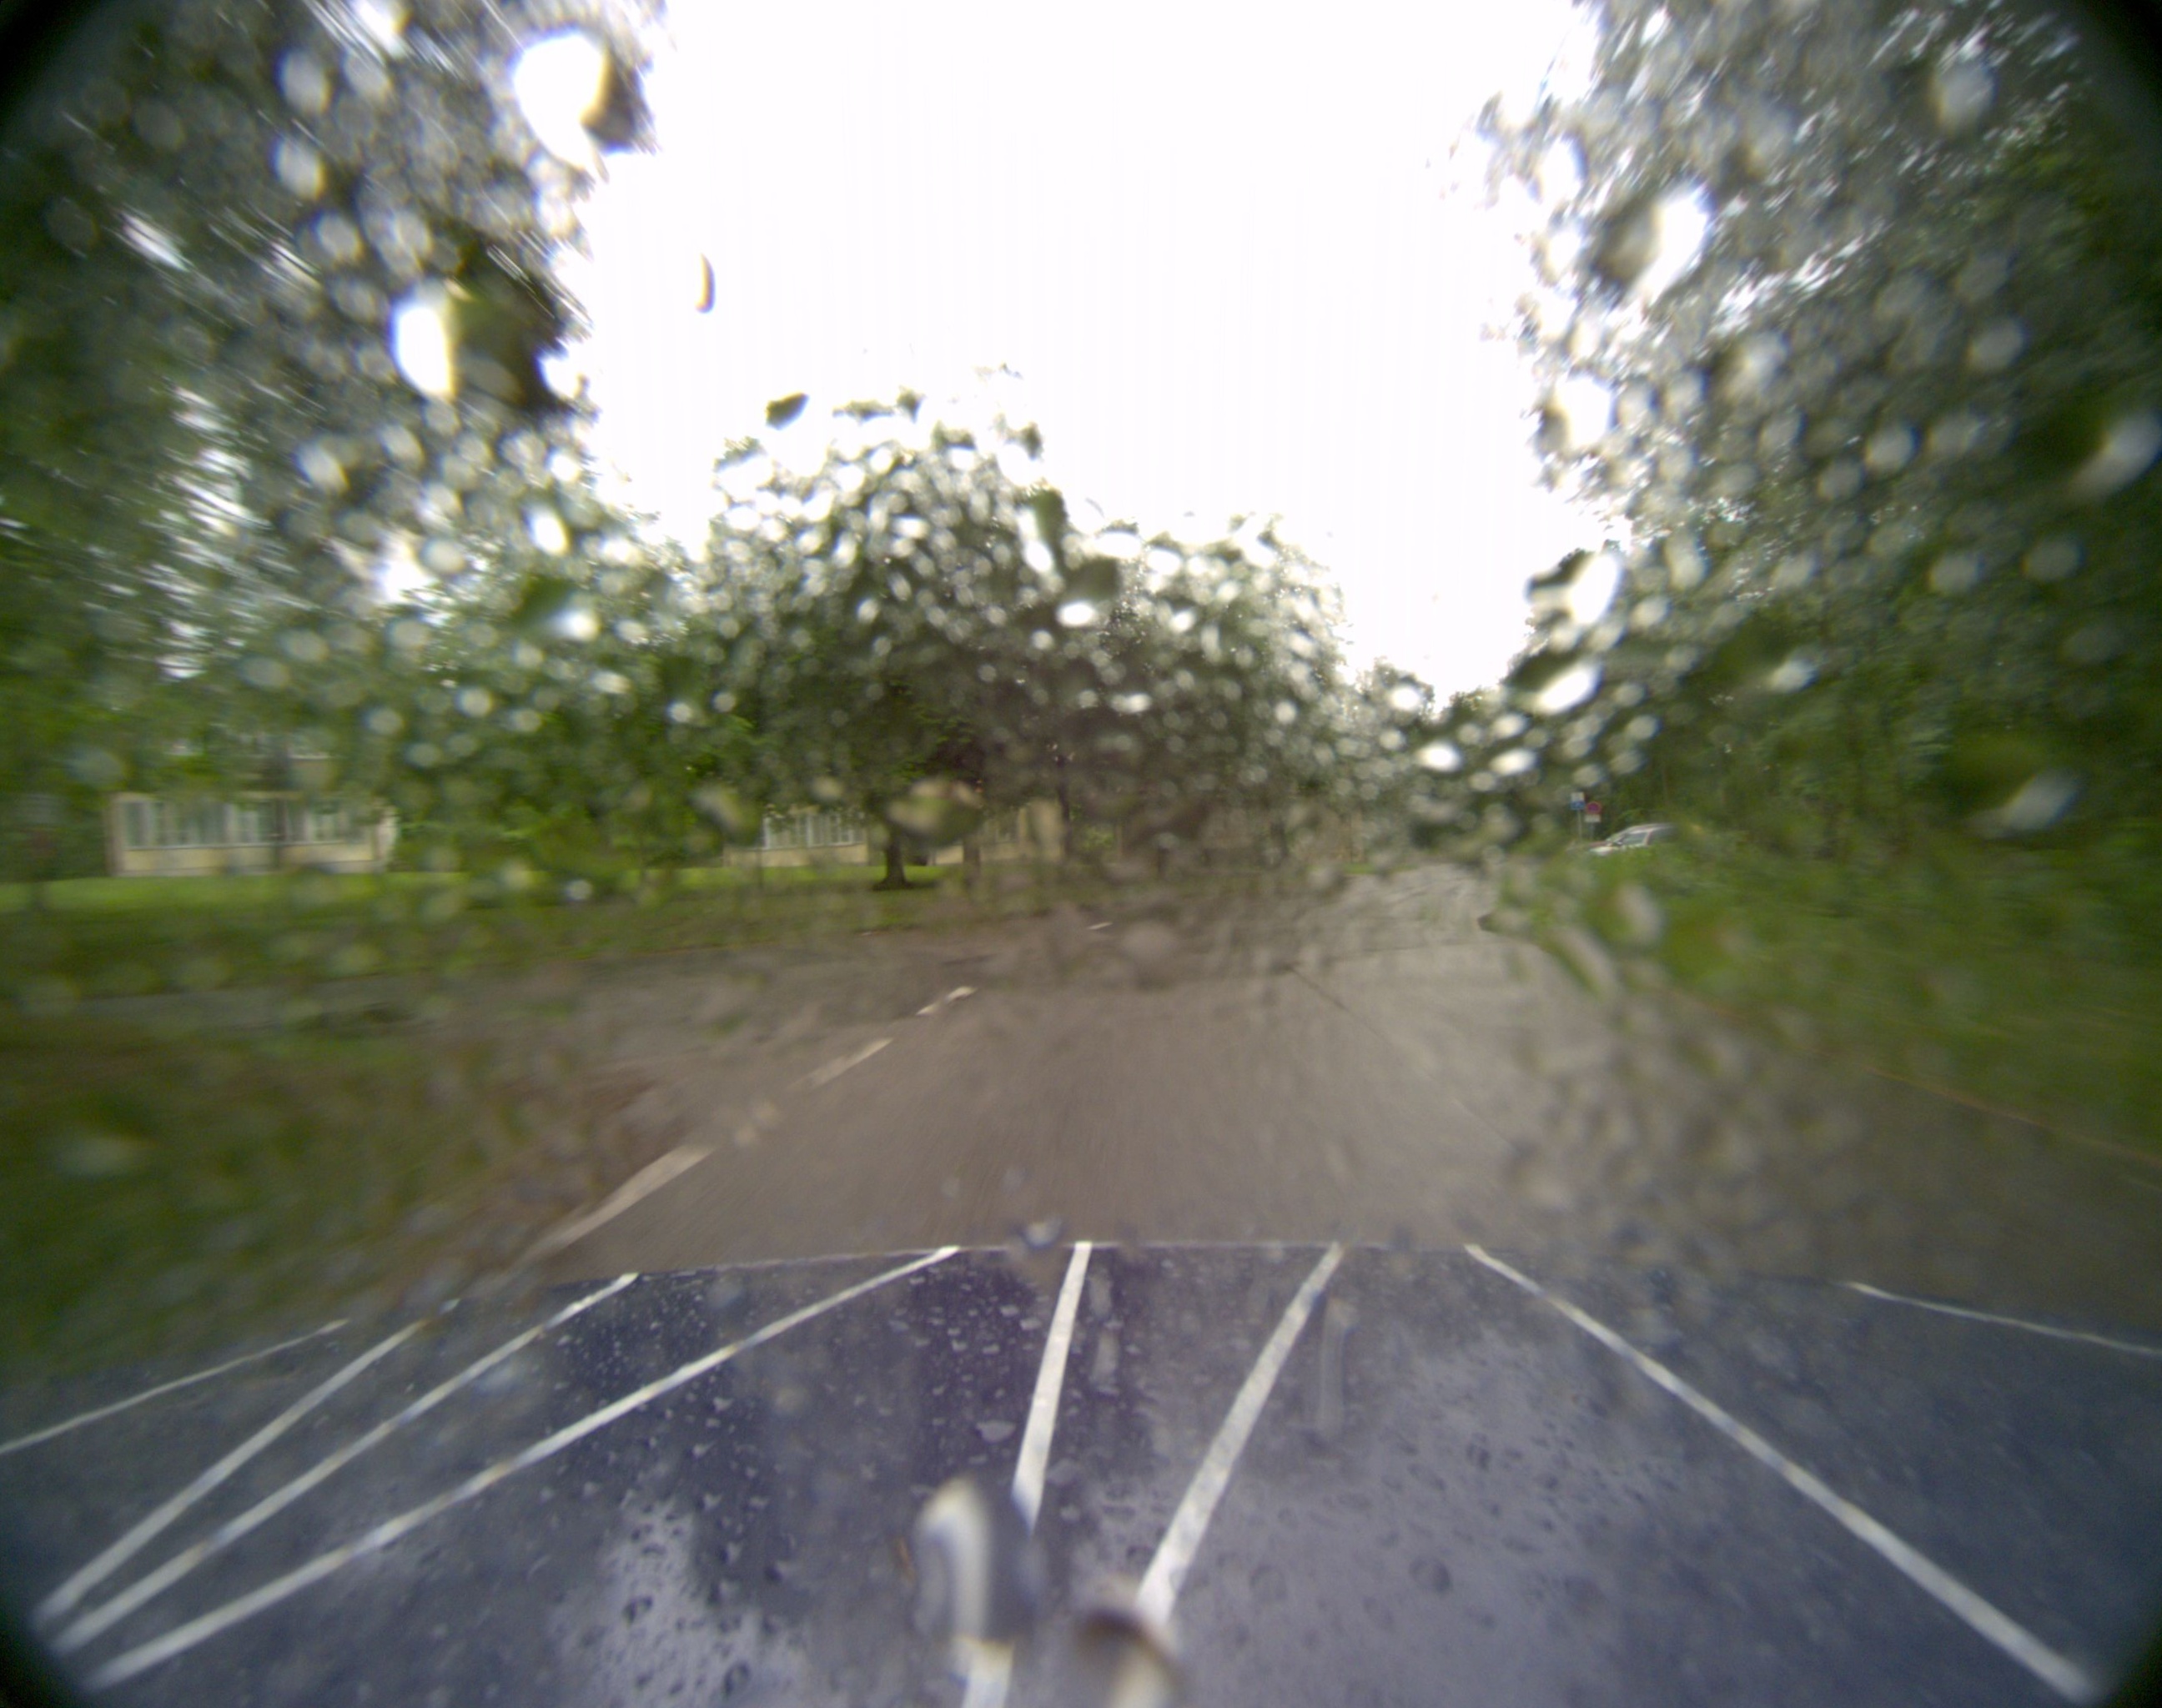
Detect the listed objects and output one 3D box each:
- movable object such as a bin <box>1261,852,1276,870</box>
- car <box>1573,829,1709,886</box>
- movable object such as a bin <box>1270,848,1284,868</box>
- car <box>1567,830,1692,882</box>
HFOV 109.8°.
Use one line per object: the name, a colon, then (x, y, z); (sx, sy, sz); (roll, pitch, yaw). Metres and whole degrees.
movable object such as a bin: (10.443, 0.395, 42.256); (0.631, 0.948, 0.762); (-2, 0, 24)
car: (21.023, 0.114, 28.612); (3.988, 2.002, 2.004); (1, 1, 39)
movable object such as a bin: (11.087, 0.238, 43.003); (0.631, 1.068, 0.762); (-2, 0, 24)
car: (22.421, 0.058, 31.118); (3.988, 2.002, 2.004); (1, 1, 39)
